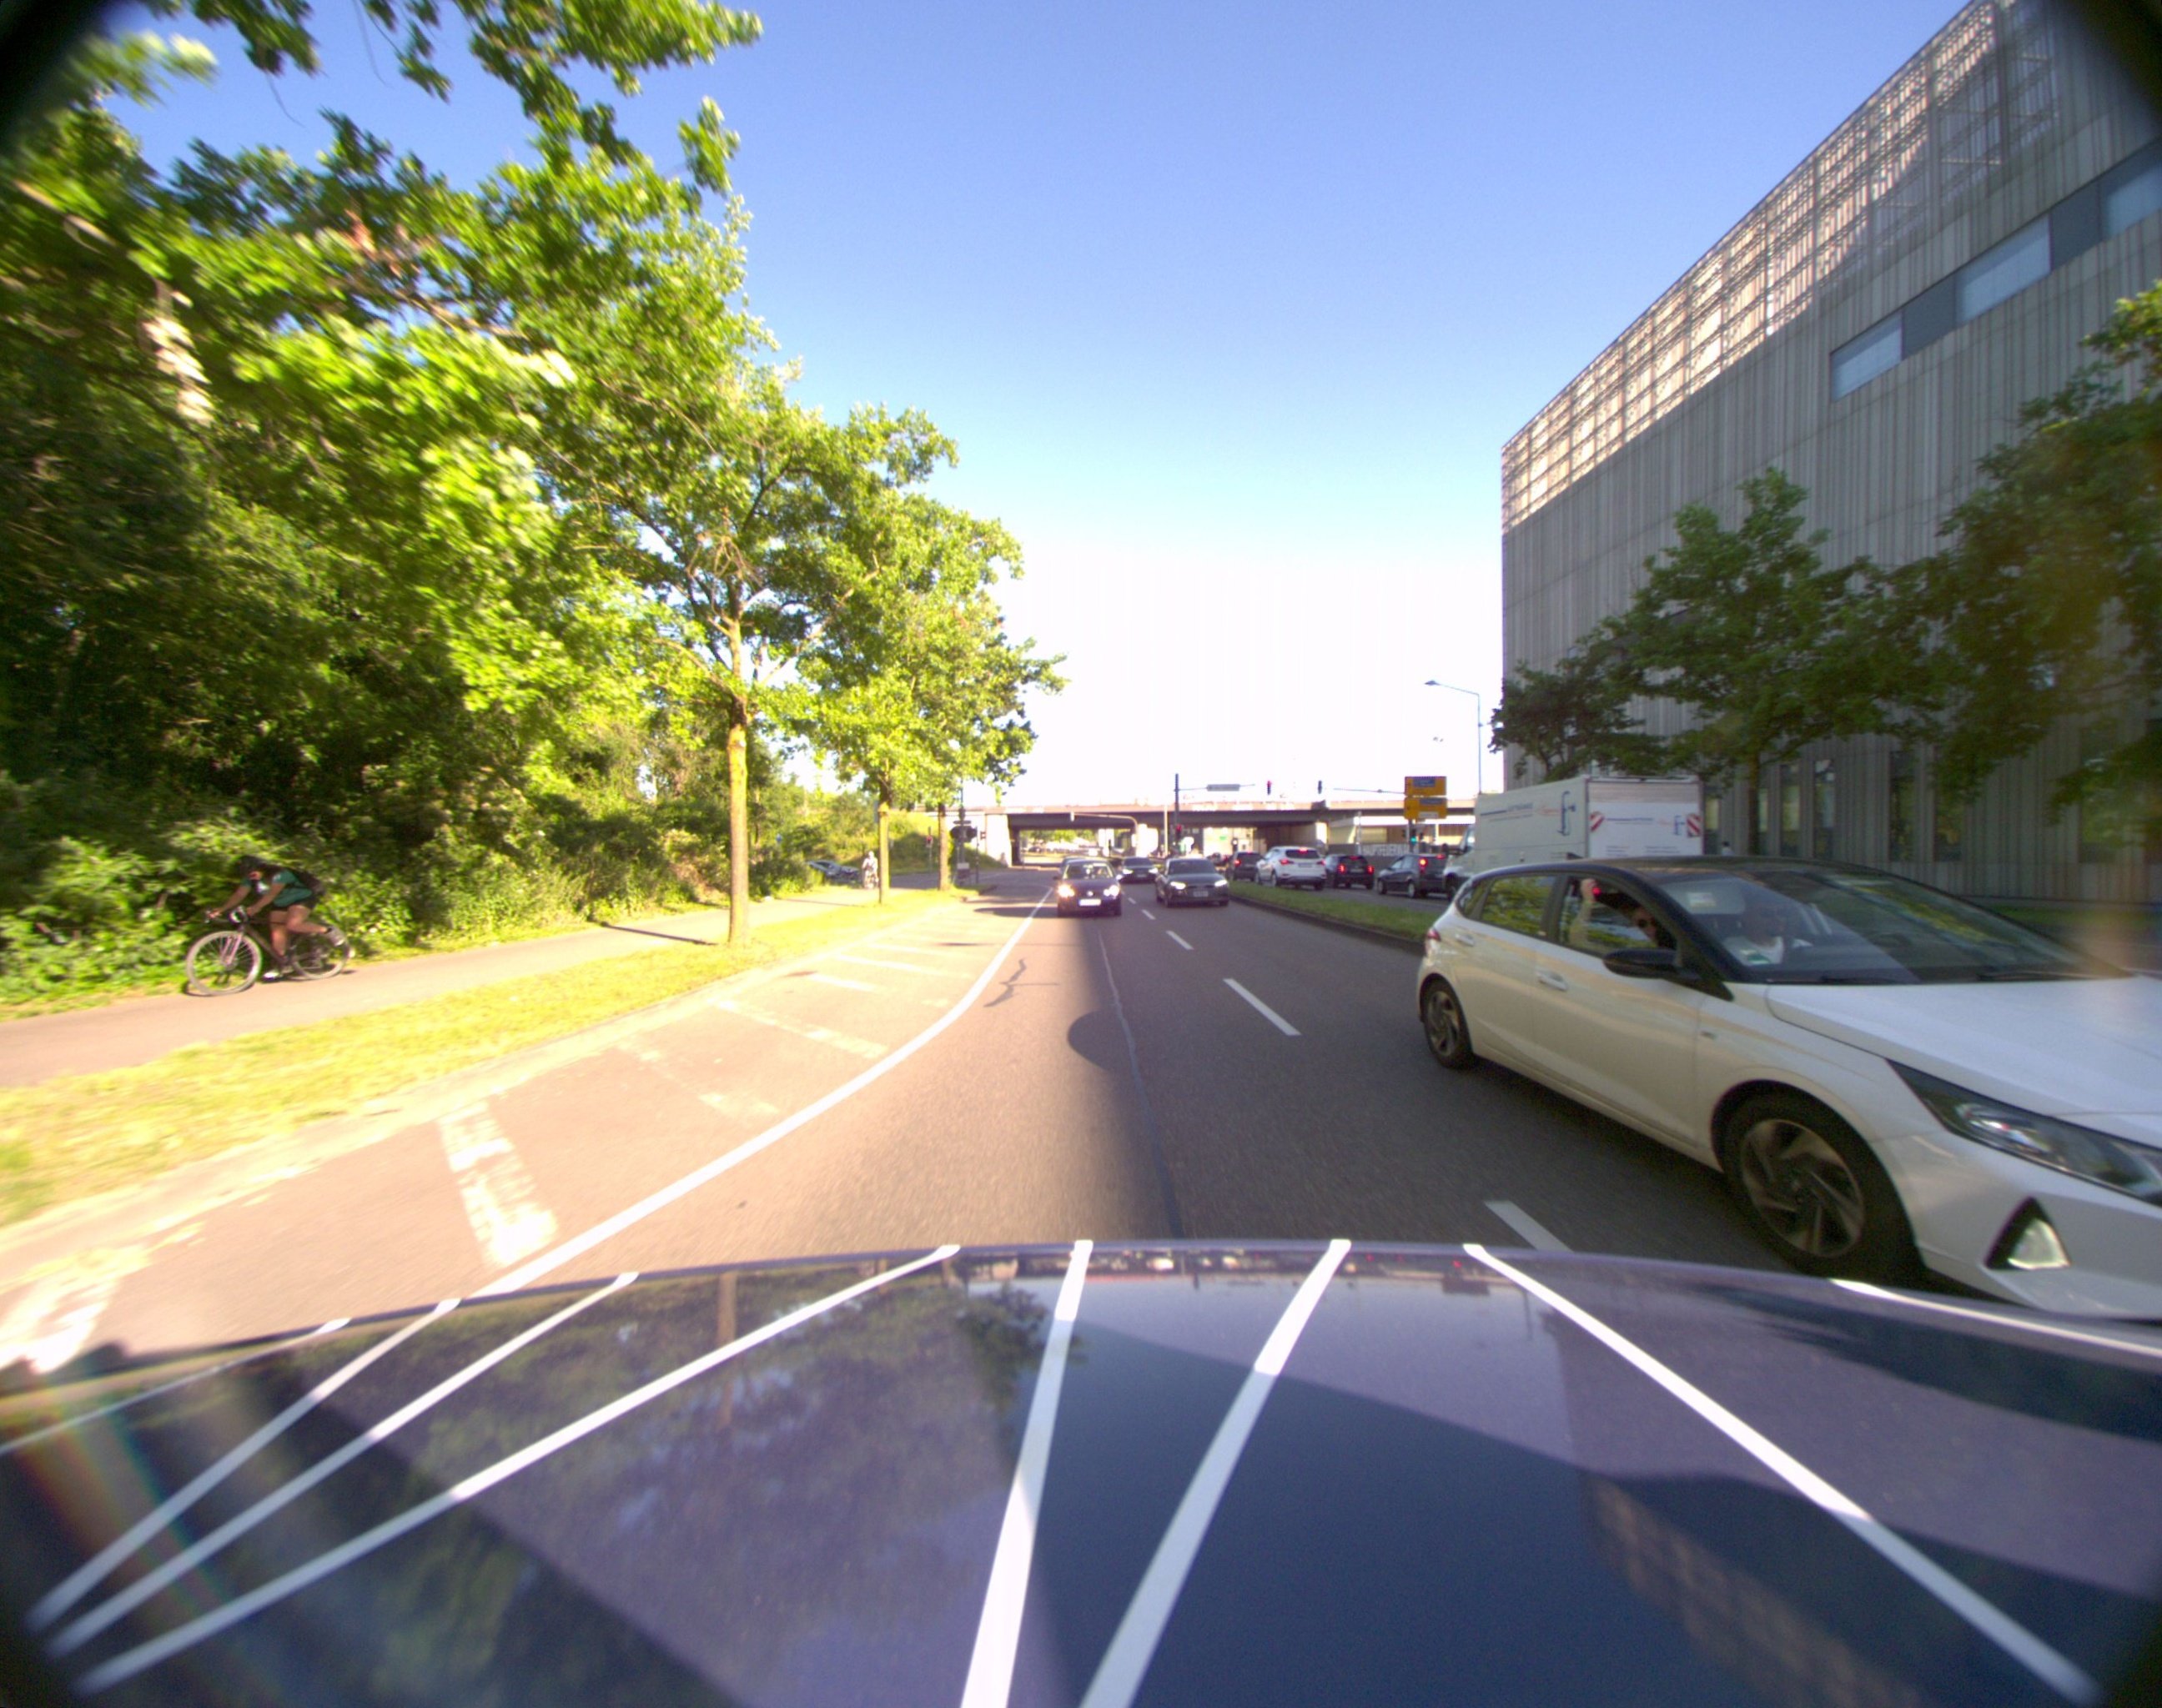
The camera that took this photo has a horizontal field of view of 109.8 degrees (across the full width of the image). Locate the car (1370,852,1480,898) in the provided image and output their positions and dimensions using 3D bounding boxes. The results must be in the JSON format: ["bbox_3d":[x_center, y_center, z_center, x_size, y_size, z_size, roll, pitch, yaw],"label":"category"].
[{"bbox_3d":[11.319,0.646,25.292,1.840,1.416,4.000,0,0,0],"label":"car"}]

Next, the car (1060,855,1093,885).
[{"bbox_3d":[-0.246,0.839,40.866,1.702,1.478,3.946,-1,1,0],"label":"car"}]

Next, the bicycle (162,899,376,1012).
[{"bbox_3d":[-9.541,1.135,9.054,0.517,1.066,1.935,-1,1,-3],"label":"bicycle"}]

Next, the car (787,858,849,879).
[{"bbox_3d":[-19.656,1.068,56.883,3.995,1.467,1.805,-1,2,4],"label":"car"}]

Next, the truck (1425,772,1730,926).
[{"bbox_3d":[11.272,-0.129,18.338,2.693,2.944,7.113,1,1,1],"label":"truck"}]

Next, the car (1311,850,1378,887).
[{"bbox_3d":[11.202,0.583,32.507,1.624,1.461,3.639,1,0,1],"label":"car"}]

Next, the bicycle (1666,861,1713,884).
[{"bbox_3d":[24.742,0.741,30.940,0.513,0.885,1.754,-1,0,-1],"label":"bicycle"}]

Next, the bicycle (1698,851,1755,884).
[{"bbox_3d":[26.083,0.517,30.739,0.513,1.262,2.099,-1,0,-1],"label":"bicycle"}]

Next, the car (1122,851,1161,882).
[{"bbox_3d":[3.213,0.616,40.933,1.702,1.529,3.946,-1,1,0],"label":"car"}]

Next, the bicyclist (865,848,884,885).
[{"bbox_3d":[-9.216,0.558,33.922,0.566,1.600,0.865,-1,1,0],"label":"bicyclist"}]

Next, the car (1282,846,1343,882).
[{"bbox_3d":[11.527,0.441,38.127,1.846,1.647,3.999,0,1,1],"label":"car"}]

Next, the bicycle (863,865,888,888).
[{"bbox_3d":[-9.228,0.987,34.204,0.573,0.986,2.046,-1,0,0],"label":"bicycle"}]

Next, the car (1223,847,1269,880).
[{"bbox_3d":[8.260,0.437,38.248,1.605,1.571,3.212,0,1,1],"label":"car"}]

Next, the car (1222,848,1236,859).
[{"bbox_3d":[20.265,-0.085,104.178,1.493,1.403,3.939,0,1,5],"label":"car"}]

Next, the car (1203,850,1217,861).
[{"bbox_3d":[19.948,0.213,117.219,1.571,1.524,3.426,-1,0,0],"label":"car"}]

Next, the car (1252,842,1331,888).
[{"bbox_3d":[8.339,0.399,30.482,1.828,1.672,4.658,1,1,0],"label":"car"}]

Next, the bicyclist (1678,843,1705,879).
[{"bbox_3d":[24.741,0.281,30.809,0.509,1.434,0.753,-1,1,-1],"label":"bicyclist"}]

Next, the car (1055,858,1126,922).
[{"bbox_3d":[0.217,0.891,20.539,1.702,1.474,4.052,-2,0,0],"label":"car"}]

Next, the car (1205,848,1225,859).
[{"bbox_3d":[17.492,-0.099,99.448,1.707,1.433,4.880,0,1,0],"label":"car"}]

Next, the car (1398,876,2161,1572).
[{"bbox_3d":[3.311,0.897,3.692,1.783,1.400,4.074,-2,0,-1],"label":"car"}]

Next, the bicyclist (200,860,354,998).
[{"bbox_3d":[-9.482,0.844,9.013,0.687,1.513,1.035,-1,1,-3],"label":"bicyclist"}]

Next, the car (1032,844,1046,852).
[{"bbox_3d":[-10.274,-1.448,186.771,1.819,1.687,3.990,-3,1,-30],"label":"car"}]

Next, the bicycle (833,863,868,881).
[{"bbox_3d":[-13.850,1.073,45.617,1.993,1.047,0.455,-1,1,12],"label":"bicycle"}]

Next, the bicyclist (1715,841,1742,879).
[{"bbox_3d":[26.080,0.234,30.601,0.508,1.498,0.645,-1,1,-1],"label":"bicyclist"}]

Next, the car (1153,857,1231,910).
[{"bbox_3d":[3.269,0.820,23.091,1.702,1.396,4.364,-1,1,0],"label":"car"}]

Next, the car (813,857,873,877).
[{"bbox_3d":[-18.497,1.014,59.189,3.995,1.467,1.817,-1,2,5],"label":"car"}]

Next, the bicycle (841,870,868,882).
[{"bbox_3d":[-12.868,1.252,43.196,0.844,0.618,2.190,1,-1,-34],"label":"bicycle"}]
